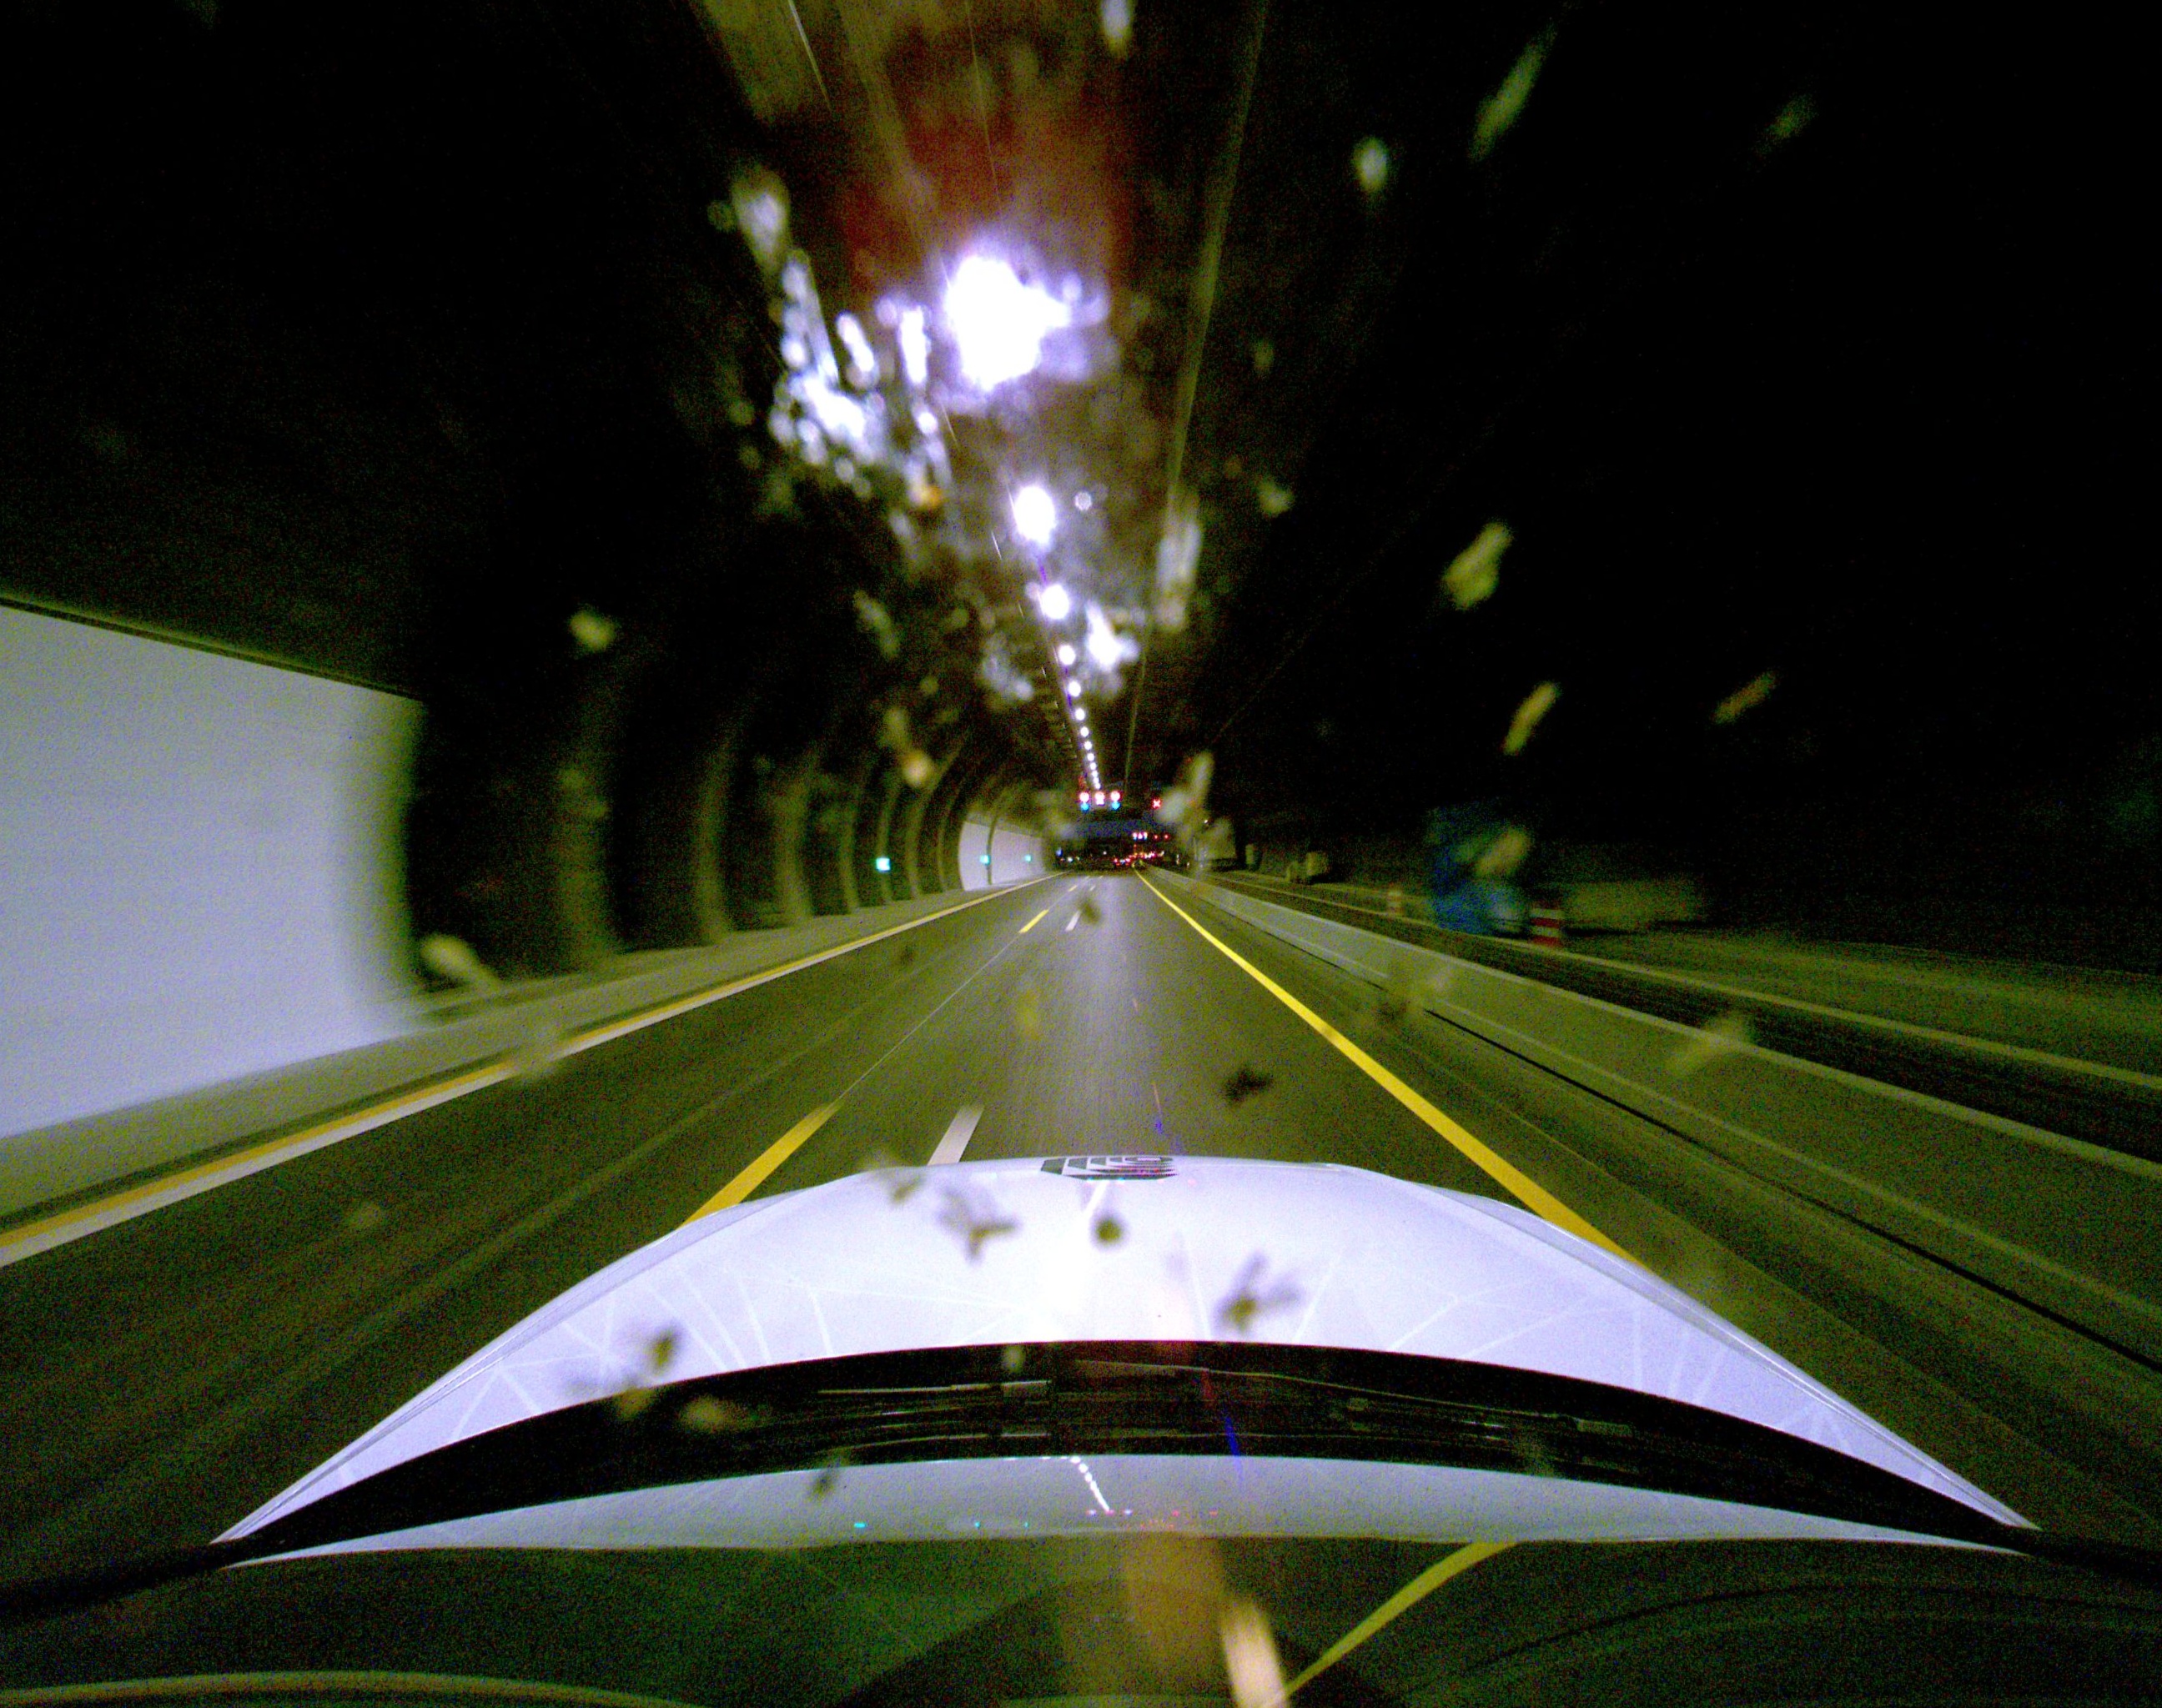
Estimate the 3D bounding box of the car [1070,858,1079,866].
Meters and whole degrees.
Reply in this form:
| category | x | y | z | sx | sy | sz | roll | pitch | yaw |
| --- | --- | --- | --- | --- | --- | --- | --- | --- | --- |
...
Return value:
| category | x | y | z | sx | sy | sz | roll | pitch | yaw |
| --- | --- | --- | --- | --- | --- | --- | --- | --- | --- |
| car | -1.755 | 2.046 | 216.892 | 1.986 | 2.014 | 4.002 | -1 | -1 | 2 |

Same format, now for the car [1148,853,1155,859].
| category | x | y | z | sx | sy | sz | roll | pitch | yaw |
| --- | --- | --- | --- | --- | --- | --- | --- | --- | --- |
| car | 22.385 | 0.685 | 258.902 | 1.985 | 2.013 | 4.004 | -1 | 0 | 3 |

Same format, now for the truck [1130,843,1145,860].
| category | x | y | z | sx | sy | sz | roll | pitch | yaw |
| --- | --- | --- | --- | --- | --- | --- | --- | --- | --- |
| truck | 16.968 | -0.754 | 245.193 | 4.526 | 4.987 | 9.608 | -1 | -1 | 3 |

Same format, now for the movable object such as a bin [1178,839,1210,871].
| category | x | y | z | sx | sy | sz | roll | pitch | yaw |
| --- | --- | --- | --- | --- | --- | --- | --- | --- | --- |
| movable object such as a bin | 10.392 | 0.105 | 75.170 | 2.229 | 2.794 | 7.237 | -1 | 0 | 2 |

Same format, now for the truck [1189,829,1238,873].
| category | x | y | z | sx | sy | sz | roll | pitch | yaw |
| --- | --- | --- | --- | --- | --- | --- | --- | --- | --- |
| truck | 10.584 | -0.228 | 65.636 | 2.881 | 3.272 | 8.406 | -1 | 0 | 2 |

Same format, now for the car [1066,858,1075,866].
| category | x | y | z | sx | sy | sz | roll | pitch | yaw |
| --- | --- | --- | --- | --- | --- | --- | --- | --- | --- |
| car | -2.633 | 1.984 | 206.815 | 1.986 | 2.014 | 4.002 | -1 | -1 | 2 |

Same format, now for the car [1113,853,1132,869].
| category | x | y | z | sx | sy | sz | roll | pitch | yaw |
| --- | --- | --- | --- | --- | --- | --- | --- | --- | --- |
| car | 4.428 | 0.736 | 87.905 | 1.881 | 1.607 | 4.000 | -1 | 0 | 0 |

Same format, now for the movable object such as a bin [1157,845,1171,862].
| category | x | y | z | sx | sy | sz | roll | pitch | yaw |
| --- | --- | --- | --- | --- | --- | --- | --- | --- | --- |
| movable object such as a bin | 17.285 | -0.090 | 169.996 | 2.725 | 3.455 | 6.953 | -1 | -1 | 4 |

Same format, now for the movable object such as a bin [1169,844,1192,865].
| category | x | y | z | sx | sy | sz | roll | pitch | yaw |
| --- | --- | --- | --- | --- | --- | --- | --- | --- | --- |
| movable object such as a bin | 13.529 | 0.136 | 111.496 | 2.725 | 2.754 | 7.056 | -1 | 0 | 4 |

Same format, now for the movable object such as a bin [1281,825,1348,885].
| category | x | y | z | sx | sy | sz | roll | pitch | yaw |
| --- | --- | --- | --- | --- | --- | --- | --- | --- | --- |
| movable object such as a bin | 10.394 | 0.055 | 36.526 | 1.750 | 2.380 | 4.001 | -5 | -1 | 2 |

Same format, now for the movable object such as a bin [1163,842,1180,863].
| category | x | y | z | sx | sy | sz | roll | pitch | yaw |
| --- | --- | --- | --- | --- | --- | --- | --- | --- | --- |
| movable object such as a bin | 16.691 | -0.287 | 150.831 | 2.725 | 3.679 | 6.339 | -1 | -1 | 4 |

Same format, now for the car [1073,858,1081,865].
| category | x | y | z | sx | sy | sz | roll | pitch | yaw |
| --- | --- | --- | --- | --- | --- | --- | --- | --- | --- |
| car | -1.019 | 2.087 | 223.801 | 1.986 | 2.014 | 4.002 | -1 | -1 | 2 |

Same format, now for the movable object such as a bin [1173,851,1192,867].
| category | x | y | z | sx | sy | sz | roll | pitch | yaw |
| --- | --- | --- | --- | --- | --- | --- | --- | --- | --- |
| movable object such as a bin | 12.339 | 0.620 | 98.816 | 1.970 | 1.816 | 3.839 | -1 | -1 | 2 |
